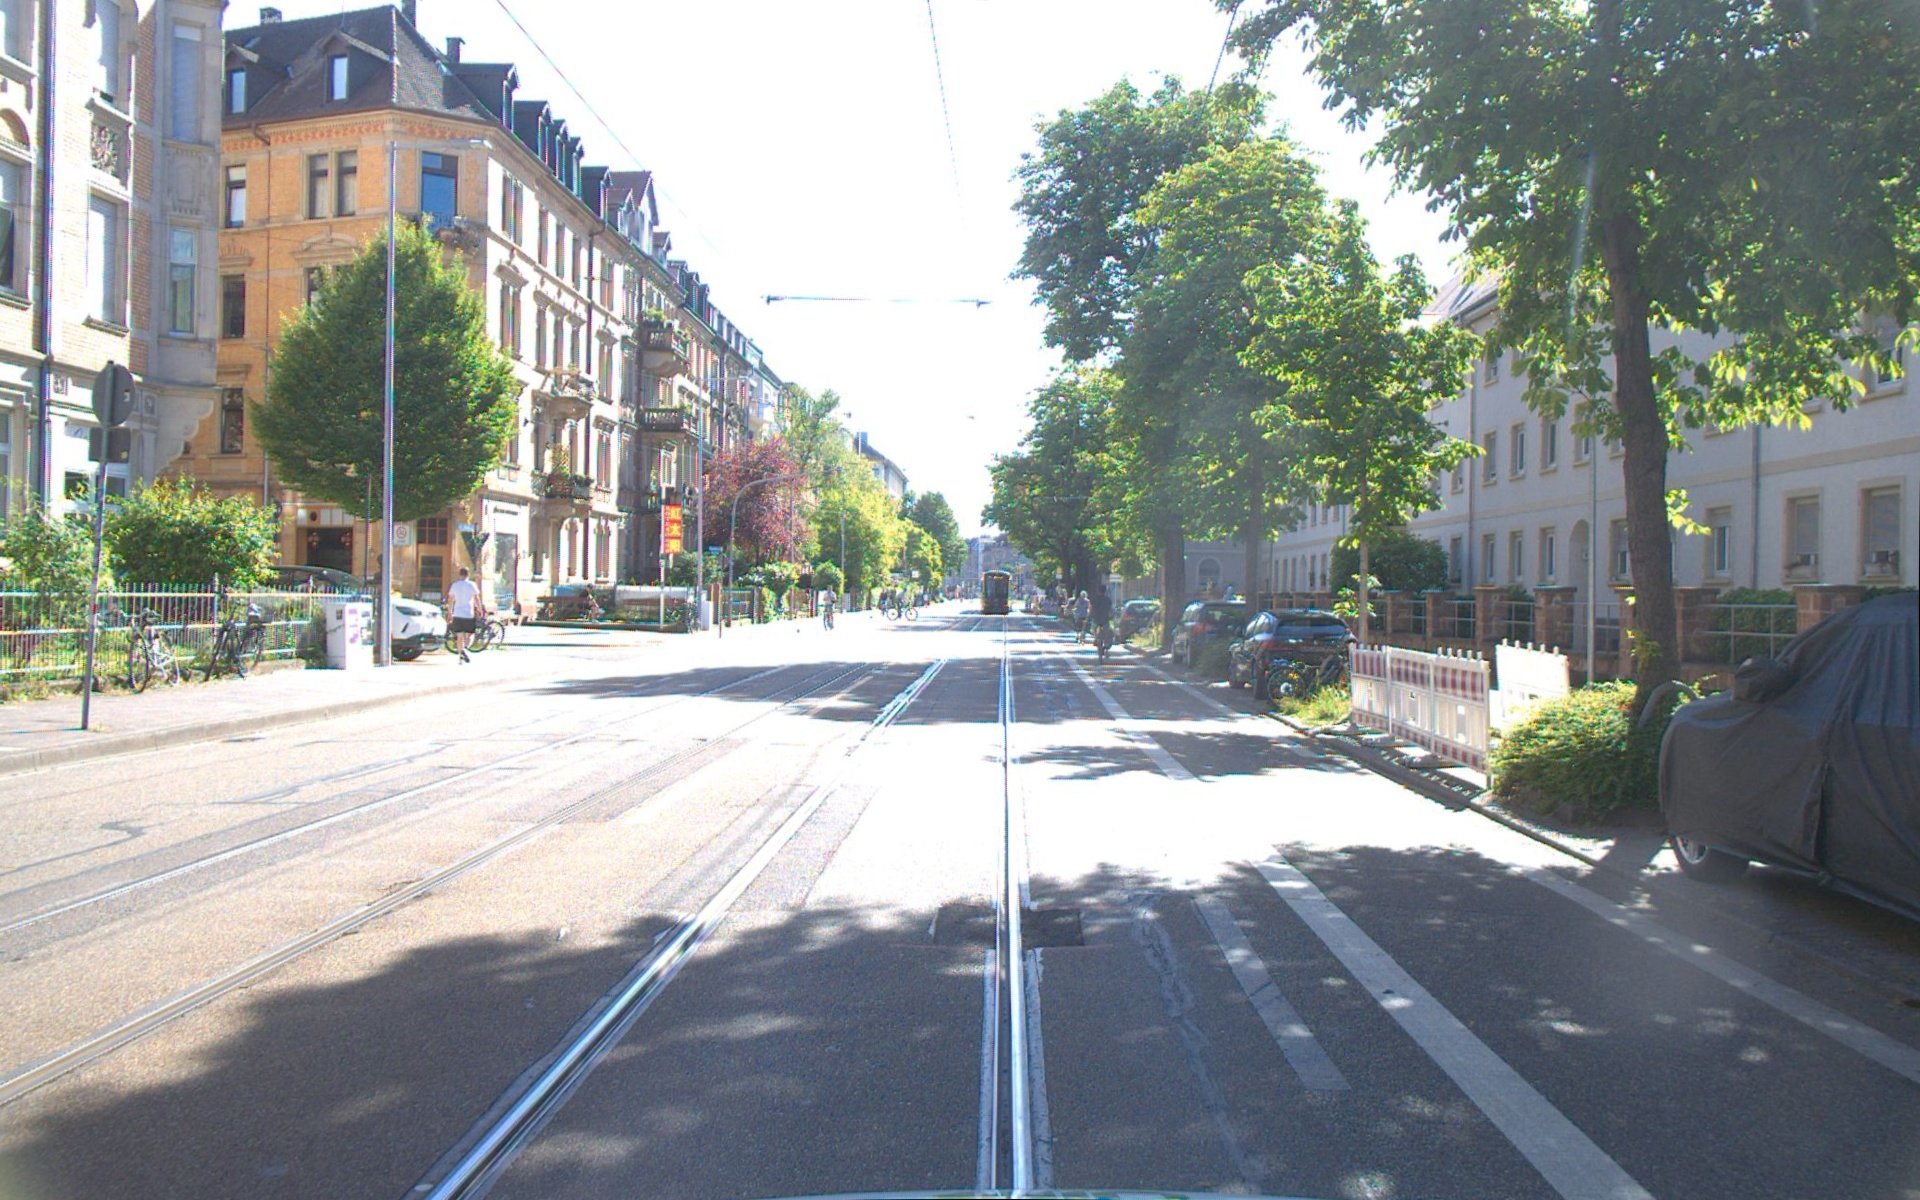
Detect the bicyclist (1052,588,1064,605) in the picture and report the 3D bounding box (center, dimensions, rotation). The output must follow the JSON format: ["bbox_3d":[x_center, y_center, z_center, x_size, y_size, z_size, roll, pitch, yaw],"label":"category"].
[{"bbox_3d":[8.072,-0.268,135.743,0.756,1.313,0.733,2,0,18],"label":"bicyclist"}]

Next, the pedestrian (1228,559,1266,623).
[{"bbox_3d":[8.179,-0.263,47.164,0.592,1.802,0.904,-2,0,-29],"label":"pedestrian"}]

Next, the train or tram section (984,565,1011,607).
[{"bbox_3d":[3.182,-1.196,141.602,2.109,3.491,6.612,2,0,1],"label":"train or tram section"}]

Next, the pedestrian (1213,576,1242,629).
[{"bbox_3d":[9.008,0.074,55.611,0.749,1.754,0.578,2,0,31],"label":"pedestrian"}]

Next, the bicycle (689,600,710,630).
[{"bbox_3d":[-8.990,0.507,57.061,0.328,1.018,1.870,2,0,2],"label":"bicycle"}]

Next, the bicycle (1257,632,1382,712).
[{"bbox_3d":[5.338,1.063,24.601,1.725,1.096,0.434,2,0,2],"label":"bicycle"}]

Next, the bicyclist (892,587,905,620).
[{"bbox_3d":[-3.500,0.214,94.273,0.632,1.827,0.956,2,0,1],"label":"bicyclist"}]

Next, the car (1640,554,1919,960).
[{"bbox_3d":[5.146,0.722,8.191,1.708,1.796,4.478,2,0,1],"label":"car"}]

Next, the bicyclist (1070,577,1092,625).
[{"bbox_3d":[3.867,0.043,52.829,0.622,1.493,0.616,2,0,1],"label":"bicyclist"}]

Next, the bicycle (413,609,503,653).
[{"bbox_3d":[-10.905,0.678,35.936,1.767,0.930,0.613,2,-2,-35],"label":"bicycle"}]

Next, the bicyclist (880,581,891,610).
[{"bbox_3d":[-4.659,-0.281,103.581,0.646,1.833,0.616,-1,-1,1],"label":"bicyclist"}]

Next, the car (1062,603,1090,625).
[{"bbox_3d":[7.922,0.971,112.916,1.712,1.445,4.001,0,0,1],"label":"car"}]

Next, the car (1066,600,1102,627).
[{"bbox_3d":[7.023,0.741,94.145,1.595,1.461,4.663,0,0,-2],"label":"car"}]

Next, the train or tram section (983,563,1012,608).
[{"bbox_3d":[3.063,-1.153,134.952,2.109,3.491,6.612,2,0,1],"label":"train or tram section"}]

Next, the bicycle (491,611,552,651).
[{"bbox_3d":[-10.482,0.745,39.536,1.279,0.930,0.613,2,-2,-35],"label":"bicycle"}]

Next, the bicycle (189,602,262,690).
[{"bbox_3d":[-9.820,0.598,22.079,0.558,1.051,1.746,2,2,-35],"label":"bicycle"}]

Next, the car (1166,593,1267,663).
[{"bbox_3d":[5.835,0.601,38.073,1.684,1.499,4.246,0,0,0],"label":"car"}]

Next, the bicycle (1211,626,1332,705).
[{"bbox_3d":[4.714,0.987,25.093,1.725,1.096,0.434,2,0,2],"label":"bicycle"}]

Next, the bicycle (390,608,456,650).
[{"bbox_3d":[-12.197,0.670,37.595,0.609,0.930,1.288,0,-2,39],"label":"bicycle"}]

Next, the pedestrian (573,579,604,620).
[{"bbox_3d":[-12.768,-0.022,56.883,0.882,1.376,0.577,-1,0,3],"label":"pedestrian"}]

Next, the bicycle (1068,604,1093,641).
[{"bbox_3d":[3.839,0.708,52.898,0.677,1.132,1.918,2,0,2],"label":"bicycle"}]

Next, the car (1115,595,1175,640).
[{"bbox_3d":[6.527,0.599,58.561,1.750,1.489,4.045,0,0,1],"label":"car"}]

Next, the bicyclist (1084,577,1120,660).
[{"bbox_3d":[3.322,0.431,38.730,0.712,1.880,0.837,2,0,1],"label":"bicyclist"}]

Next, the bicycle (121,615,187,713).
[{"bbox_3d":[-10.033,0.777,20.632,0.555,1.051,1.755,5,0,-23],"label":"bicycle"}]

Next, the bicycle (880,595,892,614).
[{"bbox_3d":[-4.644,0.277,103.817,0.677,1.132,1.719,0,0,2],"label":"bicycle"}]

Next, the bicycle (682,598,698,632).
[{"bbox_3d":[-9.171,0.498,56.228,0.363,1.146,0.809,2,0,2],"label":"bicycle"}]

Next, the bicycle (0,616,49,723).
[{"bbox_3d":[-10.051,0.718,16.803,0.551,1.051,1.768,2,1,1],"label":"bicycle"}]

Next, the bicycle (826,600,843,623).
[{"bbox_3d":[-5.180,0.466,68.280,0.450,0.942,2.203,0,0,2],"label":"bicycle"}]

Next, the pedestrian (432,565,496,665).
[{"bbox_3d":[-9.047,0.277,30.205,0.813,1.754,1.082,2,-1,-3],"label":"pedestrian"}]

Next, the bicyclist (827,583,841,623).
[{"bbox_3d":[-5.197,0.111,68.222,0.454,1.647,0.744,-1,0,1],"label":"bicyclist"}]

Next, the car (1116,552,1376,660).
[{"bbox_3d":[5.043,0.103,29.673,4.352,1.672,1.967,2,0,4],"label":"car"}]

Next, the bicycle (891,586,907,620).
[{"bbox_3d":[-3.459,0.164,94.260,0.649,1.891,2.260,2,0,3],"label":"bicycle"}]

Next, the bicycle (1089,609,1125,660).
[{"bbox_3d":[3.428,0.794,38.688,0.677,1.132,1.719,2,0,2],"label":"bicycle"}]

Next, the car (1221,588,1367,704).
[{"bbox_3d":[5.571,0.708,28.066,1.631,1.791,4.231,1,0,0],"label":"car"}]
